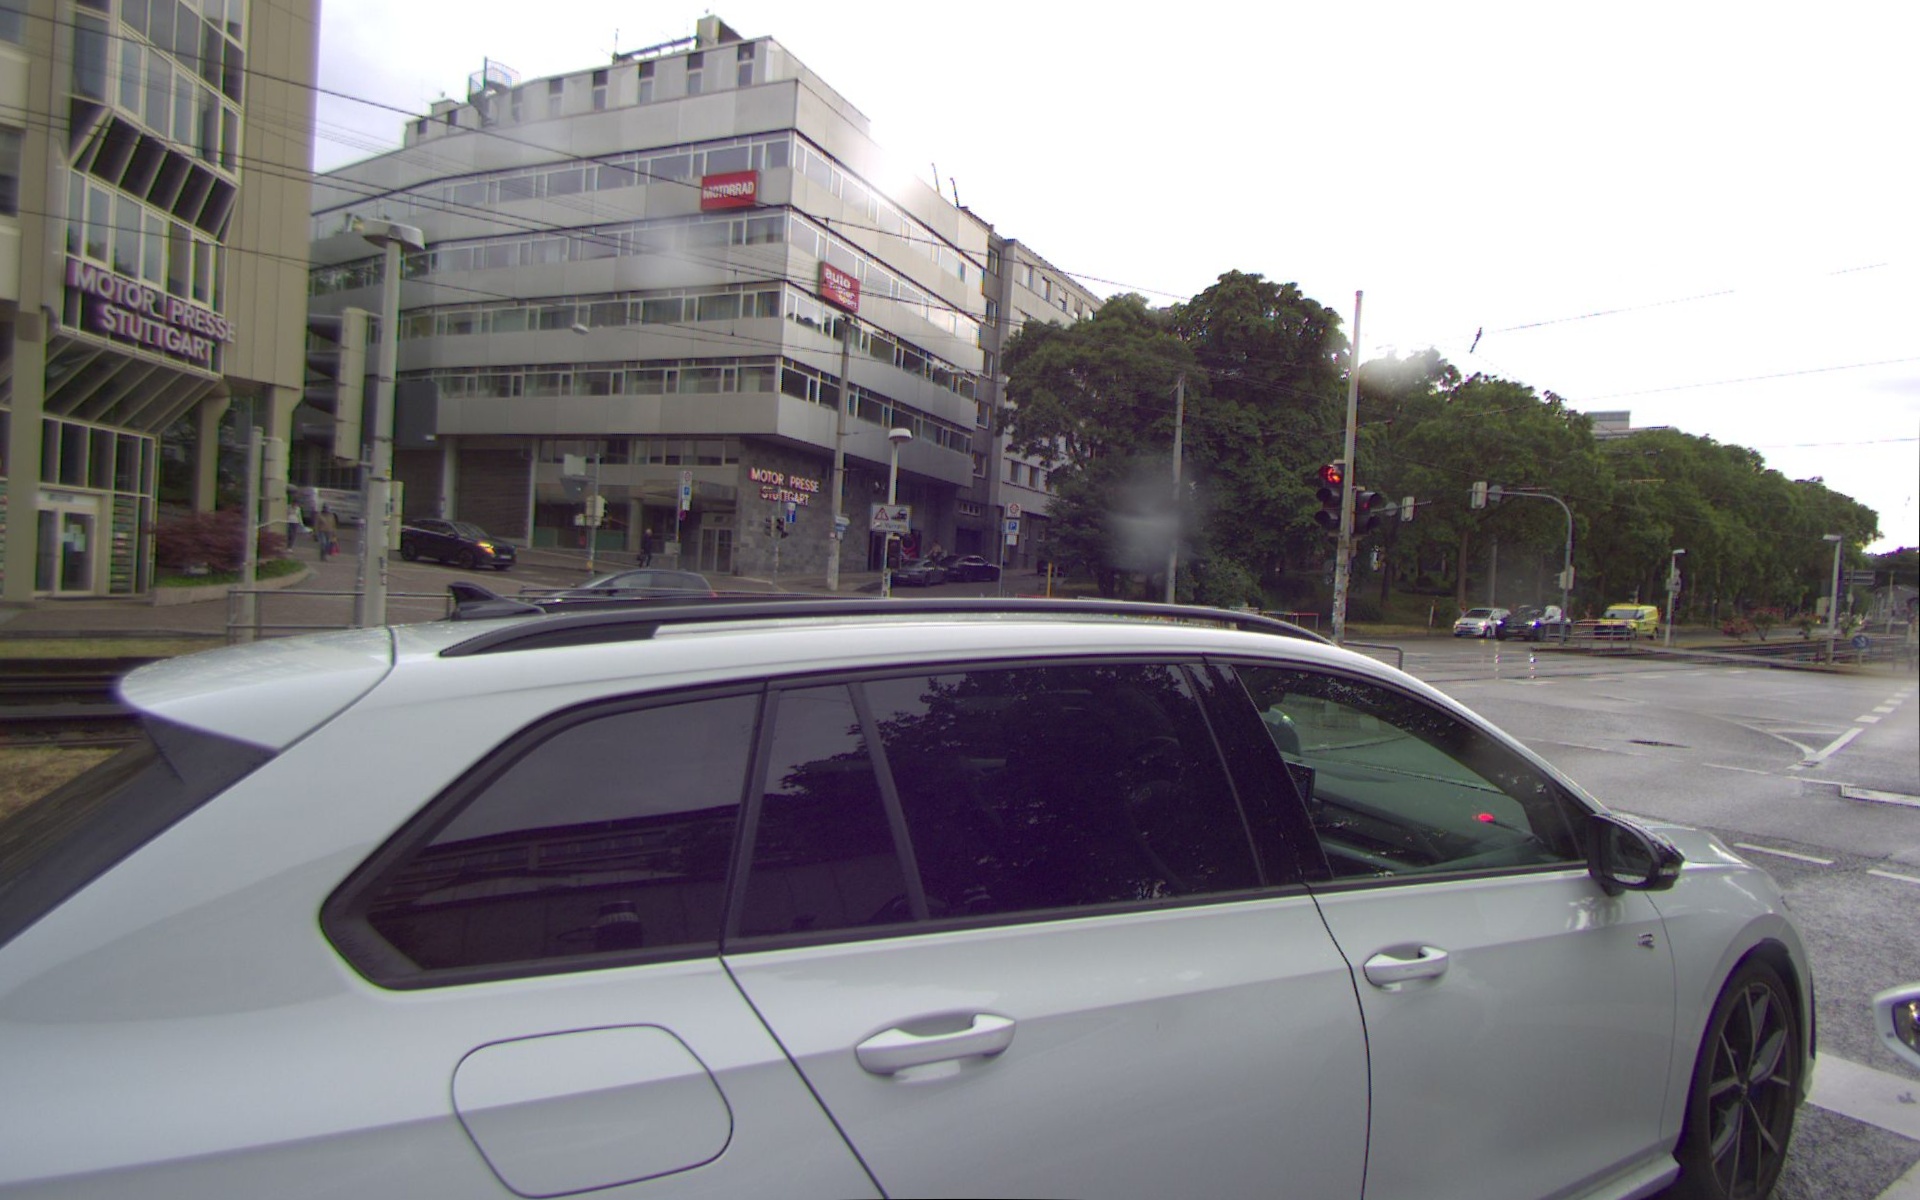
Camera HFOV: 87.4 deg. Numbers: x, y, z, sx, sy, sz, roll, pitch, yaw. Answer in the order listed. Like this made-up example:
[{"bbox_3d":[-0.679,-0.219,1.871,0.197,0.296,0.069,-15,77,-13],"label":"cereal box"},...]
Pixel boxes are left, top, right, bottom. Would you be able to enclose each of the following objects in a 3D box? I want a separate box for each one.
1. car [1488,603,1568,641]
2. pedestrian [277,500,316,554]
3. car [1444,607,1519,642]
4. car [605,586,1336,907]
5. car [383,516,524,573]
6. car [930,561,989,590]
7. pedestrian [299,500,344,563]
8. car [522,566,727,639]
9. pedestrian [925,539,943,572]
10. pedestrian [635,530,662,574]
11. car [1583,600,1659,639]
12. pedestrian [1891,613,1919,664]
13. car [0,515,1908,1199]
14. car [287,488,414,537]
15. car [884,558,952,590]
[{"bbox_3d":[26.348,1.029,46.548,3.648,1.566,1.905,2,1,-37],"label":"car"},{"bbox_3d":[-21.313,-2.328,32.263,0.746,1.661,0.719,5,2,25],"label":"pedestrian"},{"bbox_3d":[26.058,1.215,50.183,3.648,1.566,1.905,2,1,-37],"label":"car"},{"bbox_3d":[0.193,0.721,6.483,4.423,1.461,1.787,2,0,-30],"label":"car"},{"bbox_3d":[-18.823,-2.059,37.317,4.794,1.601,1.999,7,3,23],"label":"car"},{"bbox_3d":[0.025,-1.350,55.581,1.842,1.450,3.998,3,2,22],"label":"car"},{"bbox_3d":[-19.342,-2.064,30.430,0.746,1.811,0.830,5,2,25],"label":"pedestrian"},{"bbox_3d":[-7.058,0.068,21.217,3.828,1.375,1.618,2,2,-32],"label":"car"},{"bbox_3d":[-1.522,-2.598,58.779,0.707,1.886,0.758,5,4,31],"label":"pedestrian"},{"bbox_3d":[-13.905,-2.141,44.853,0.833,1.886,0.719,5,2,25],"label":"pedestrian"},{"bbox_3d":[35.110,1.043,53.324,4.525,1.875,1.905,2,1,-38],"label":"car"},{"bbox_3d":[35.326,1.431,37.399,0.860,1.826,0.863,5,3,44],"label":"pedestrian"},{"bbox_3d":[0.296,0.704,2.470,4.423,1.461,1.787,2,0,-30],"label":"car"},{"bbox_3d":[-32.037,-4.538,52.990,1.964,2.040,5.403,2,0,30],"label":"car"},{"bbox_3d":[-2.065,-1.291,50.607,1.842,1.450,4.091,3,2,22],"label":"car"}]
